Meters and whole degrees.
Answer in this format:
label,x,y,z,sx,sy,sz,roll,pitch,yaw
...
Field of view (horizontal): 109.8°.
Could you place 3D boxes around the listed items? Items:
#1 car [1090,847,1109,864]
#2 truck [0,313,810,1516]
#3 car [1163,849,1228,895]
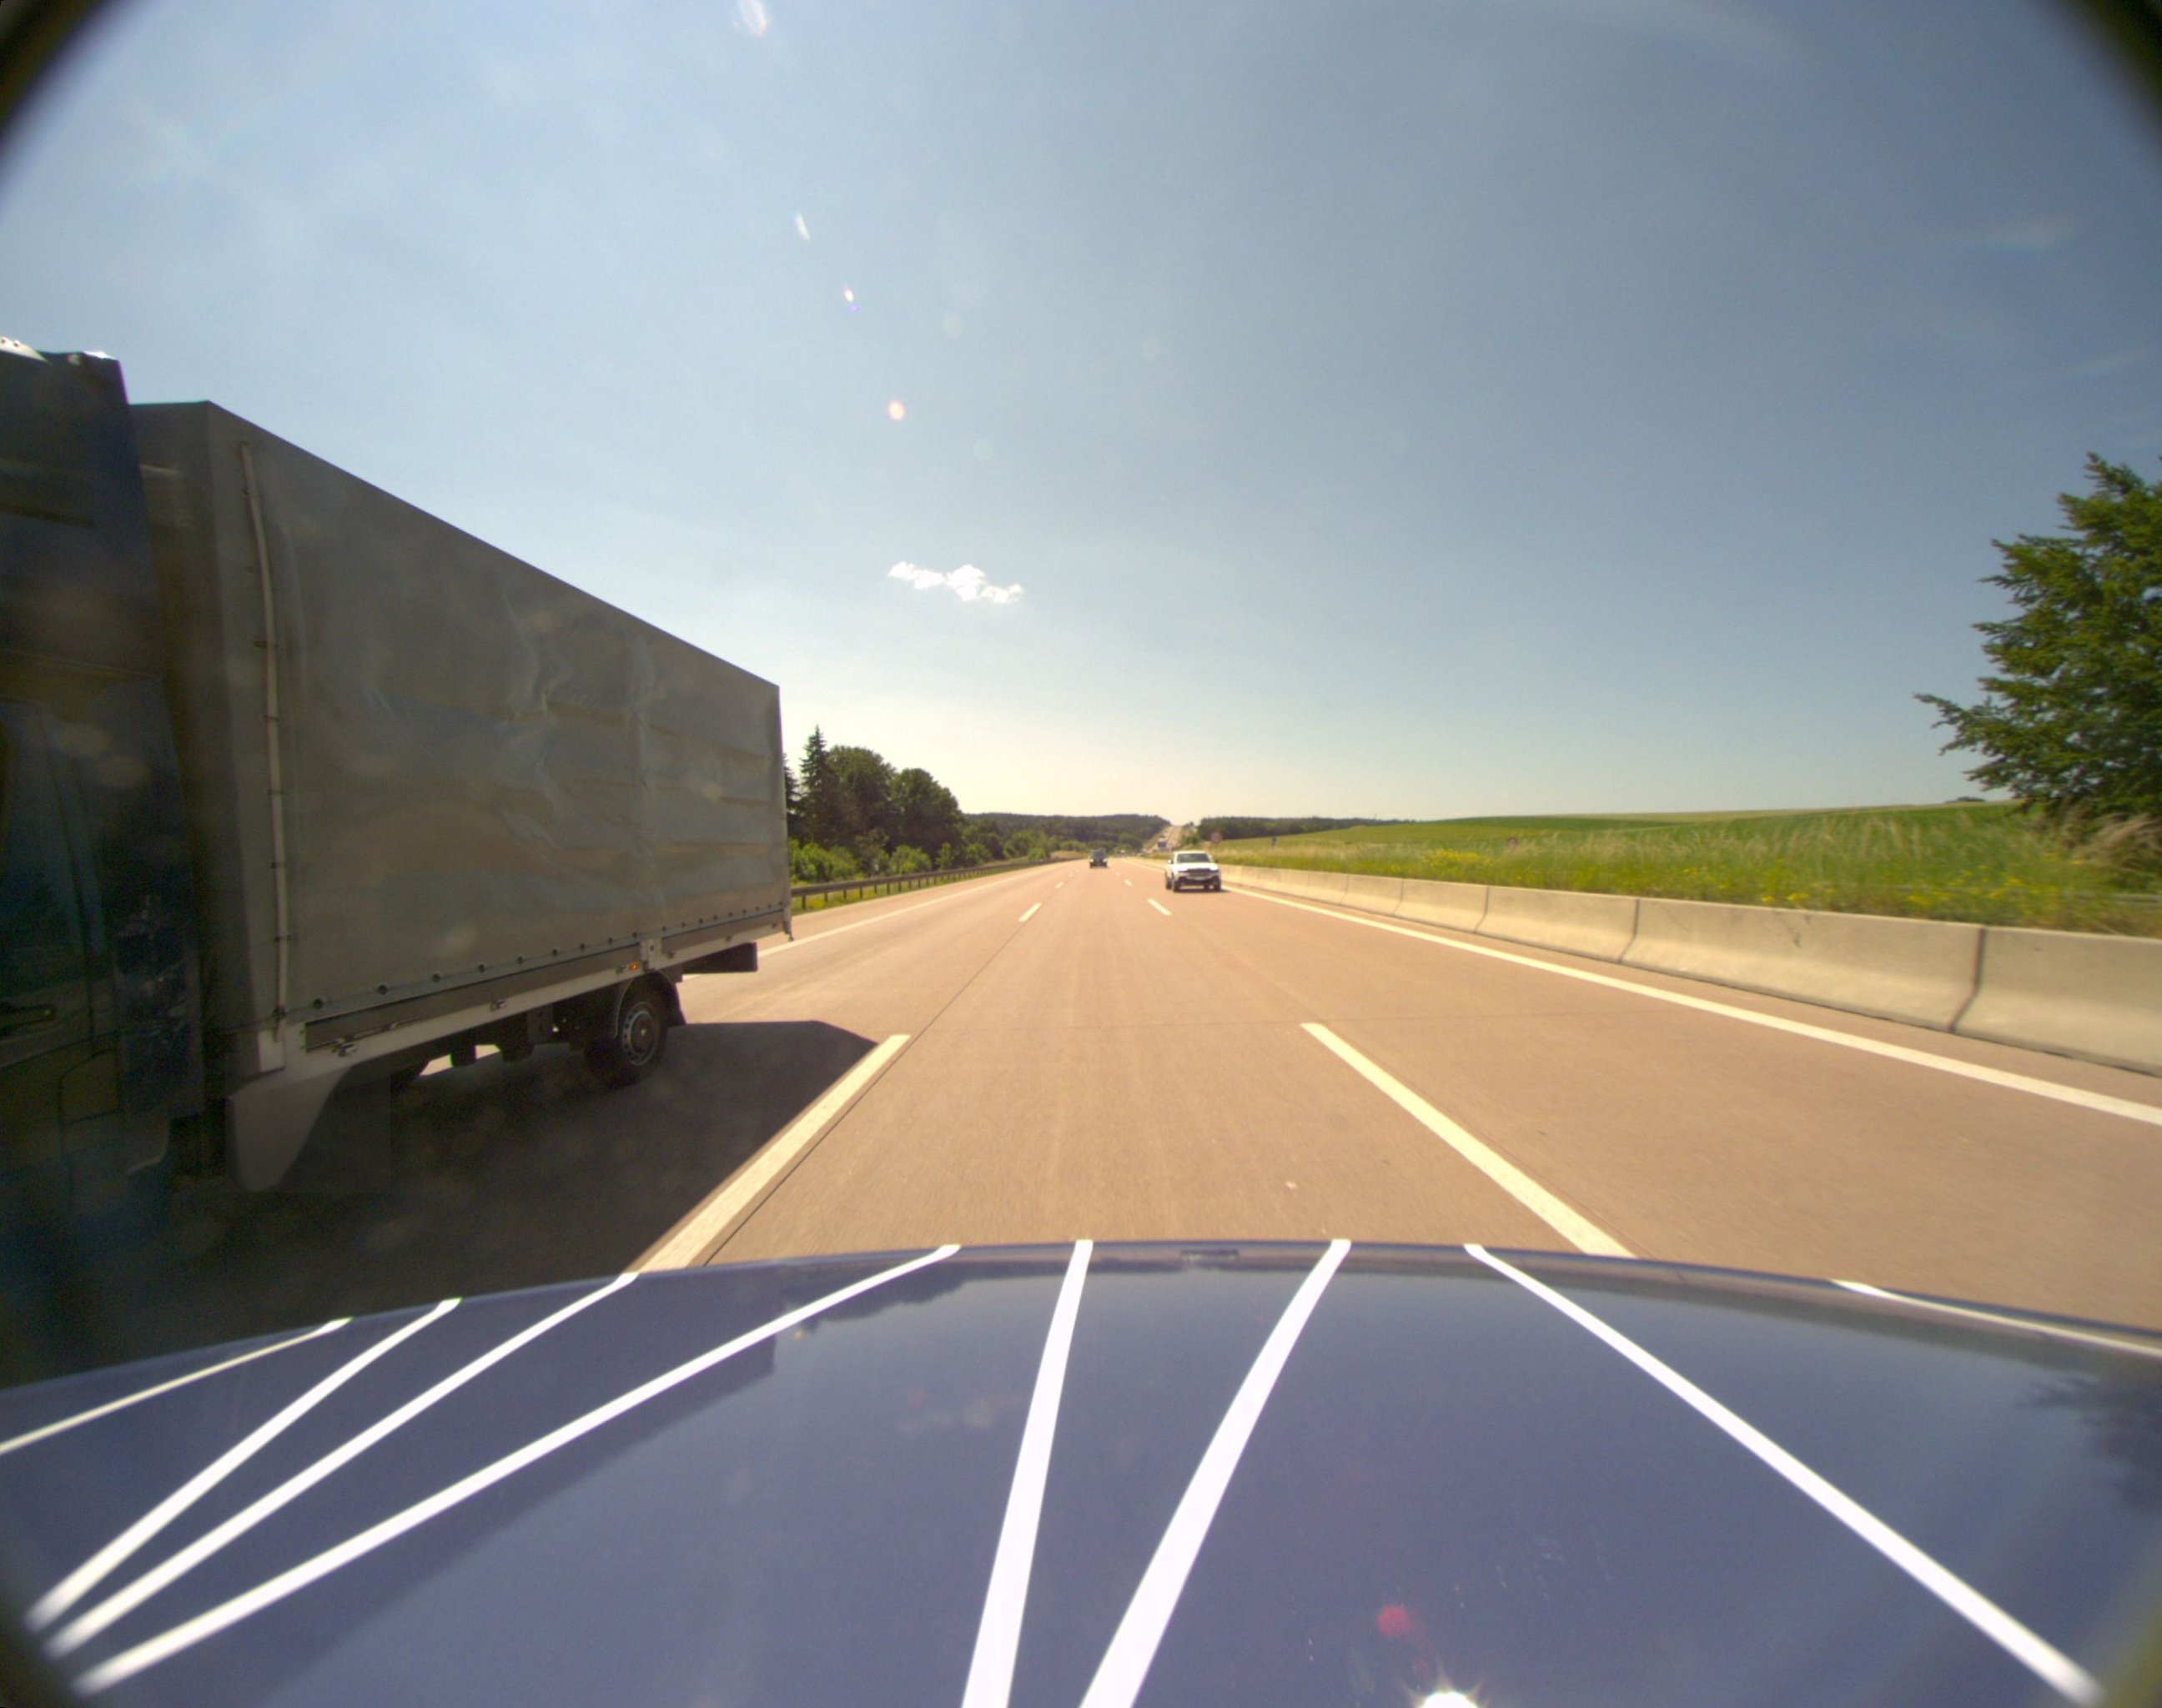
label,x,y,z,sx,sy,sz,roll,pitch,yaw
car,2.004,0.177,84.462,1.998,1.805,4.564,-2,0,1
truck,-4.134,0.156,4.037,2.508,3.200,7.783,-1,0,0
car,4.370,0.618,29.697,1.883,1.598,4.833,-2,1,1
